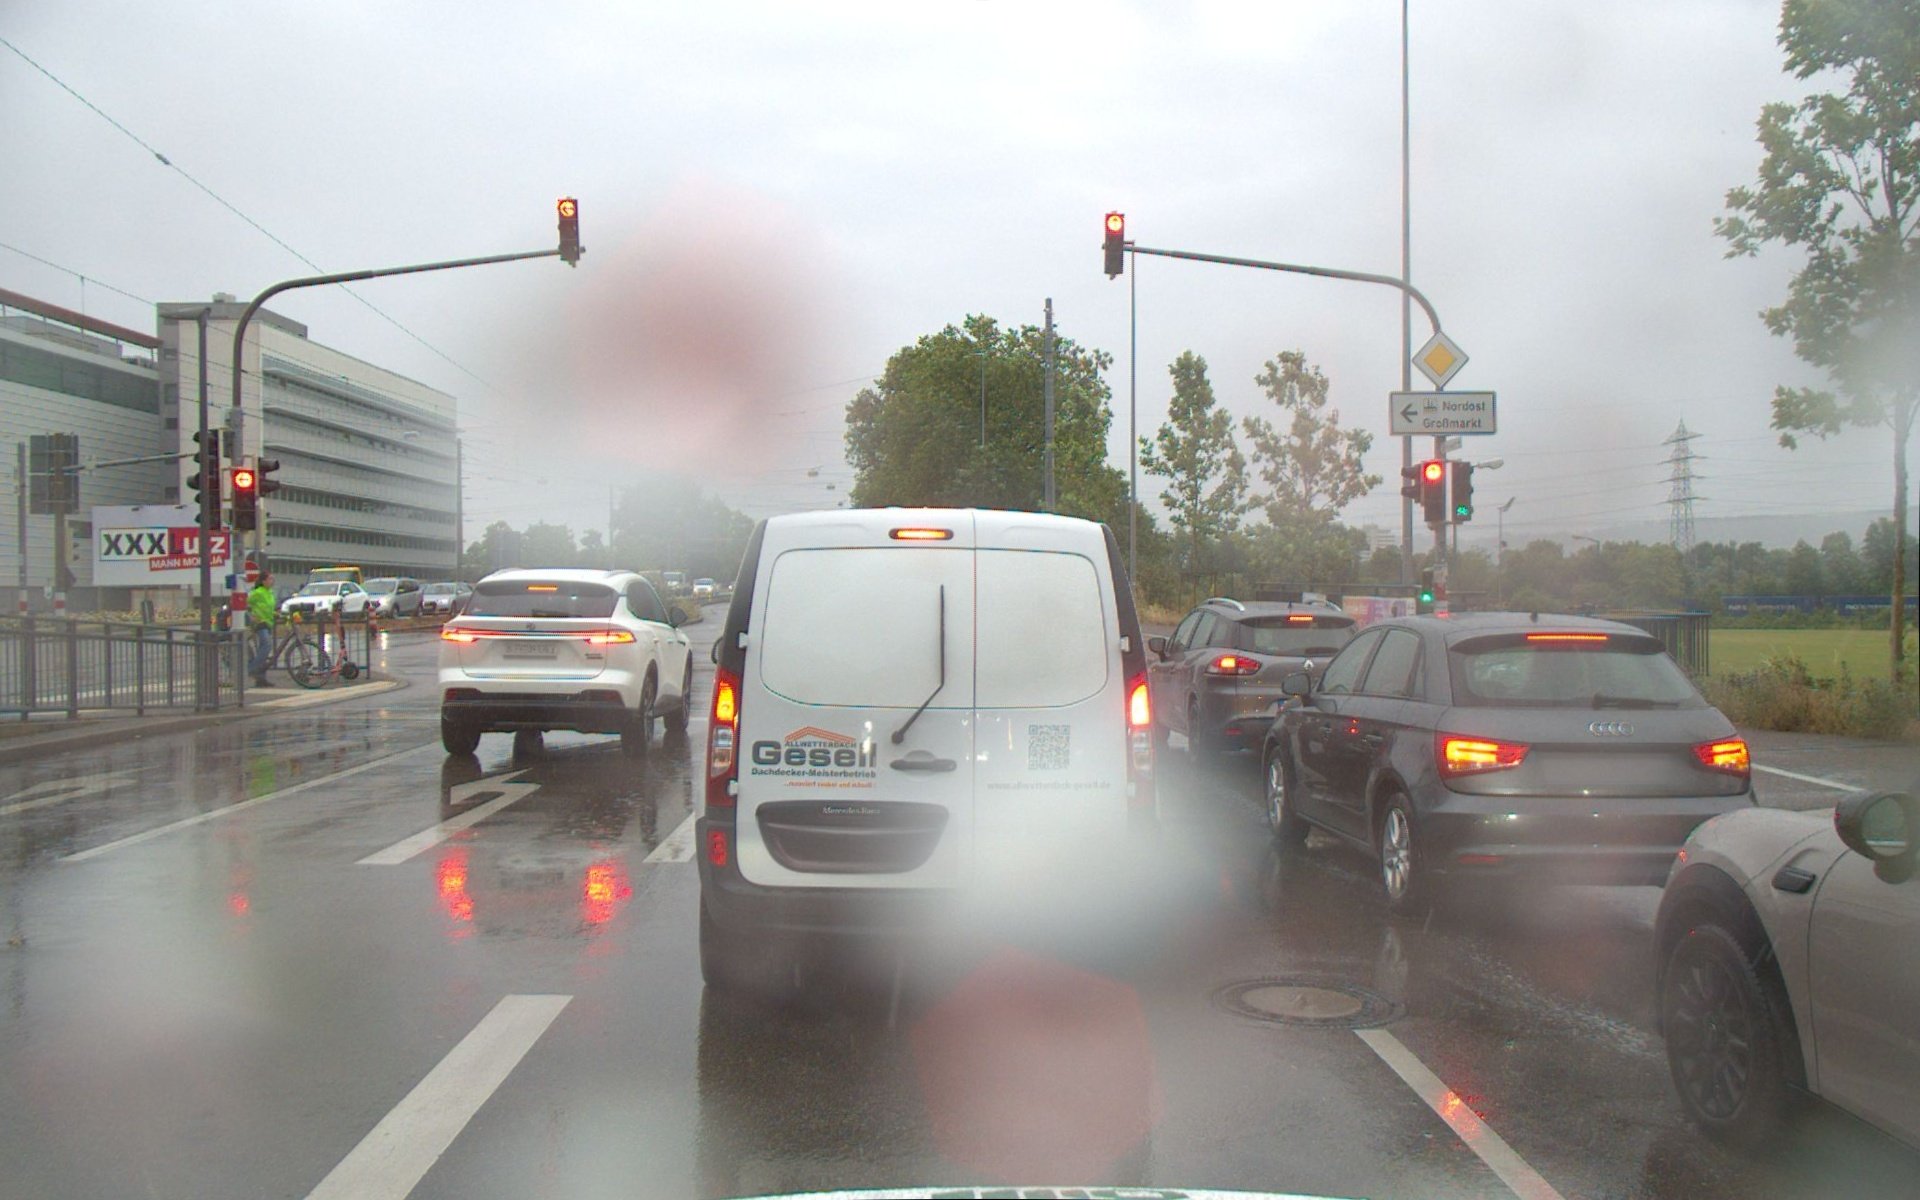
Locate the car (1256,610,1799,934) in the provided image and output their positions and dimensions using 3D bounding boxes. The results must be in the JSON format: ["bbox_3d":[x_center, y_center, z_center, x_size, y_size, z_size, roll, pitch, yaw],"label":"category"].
[{"bbox_3d":[2.782,0.757,8.960,1.596,1.368,3.622,1,0,-2],"label":"car"}]

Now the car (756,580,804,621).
[{"bbox_3d":[-7.073,0.012,64.729,1.585,1.530,3.706,1,0,-10],"label":"car"}]

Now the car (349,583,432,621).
[{"bbox_3d":[-21.517,0.104,62.611,1.554,1.359,3.832,1,-1,4],"label":"car"}]

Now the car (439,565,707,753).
[{"bbox_3d":[-3.578,0.472,16.054,1.694,1.562,4.296,1,1,-2],"label":"car"}]

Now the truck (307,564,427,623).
[{"bbox_3d":[-25.061,-0.242,70.284,2.303,2.319,7.632,1,0,0],"label":"truck"}]

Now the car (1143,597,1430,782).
[{"bbox_3d":[2.903,0.738,15.533,1.822,1.453,3.806,1,1,-2],"label":"car"}]

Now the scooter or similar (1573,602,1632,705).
[{"bbox_3d":[7.599,0.619,19.589,0.240,1.178,1.186,1,0,1],"label":"scooter or similar"}]

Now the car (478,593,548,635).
[{"bbox_3d":[-20.803,0.638,77.110,1.889,1.859,4.002,1,0,4],"label":"car"}]

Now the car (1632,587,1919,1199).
[{"bbox_3d":[2.946,0.755,3.244,1.679,1.534,3.622,1,0,-2],"label":"car"}]

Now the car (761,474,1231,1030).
[{"bbox_3d":[0.096,0.505,7.438,1.534,1.819,3.999,0,0,-1],"label":"car"}]

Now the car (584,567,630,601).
[{"bbox_3d":[-22.095,-0.968,103.655,1.952,2.049,4.000,1,0,1],"label":"car"}]

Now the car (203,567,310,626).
[{"bbox_3d":[-25.293,-0.111,59.603,1.952,2.049,4.002,1,0,3],"label":"car"}]

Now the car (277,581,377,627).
[{"bbox_3d":[-21.670,0.146,56.800,1.662,1.518,3.878,1,0,5],"label":"car"}]

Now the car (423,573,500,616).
[{"bbox_3d":[-21.055,-0.222,70.041,1.853,1.729,4.001,1,0,3],"label":"car"}]

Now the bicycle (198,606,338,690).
[{"bbox_3d":[-9.714,0.673,23.253,1.716,1.052,0.414,4,-1,-3],"label":"bicycle"}]
